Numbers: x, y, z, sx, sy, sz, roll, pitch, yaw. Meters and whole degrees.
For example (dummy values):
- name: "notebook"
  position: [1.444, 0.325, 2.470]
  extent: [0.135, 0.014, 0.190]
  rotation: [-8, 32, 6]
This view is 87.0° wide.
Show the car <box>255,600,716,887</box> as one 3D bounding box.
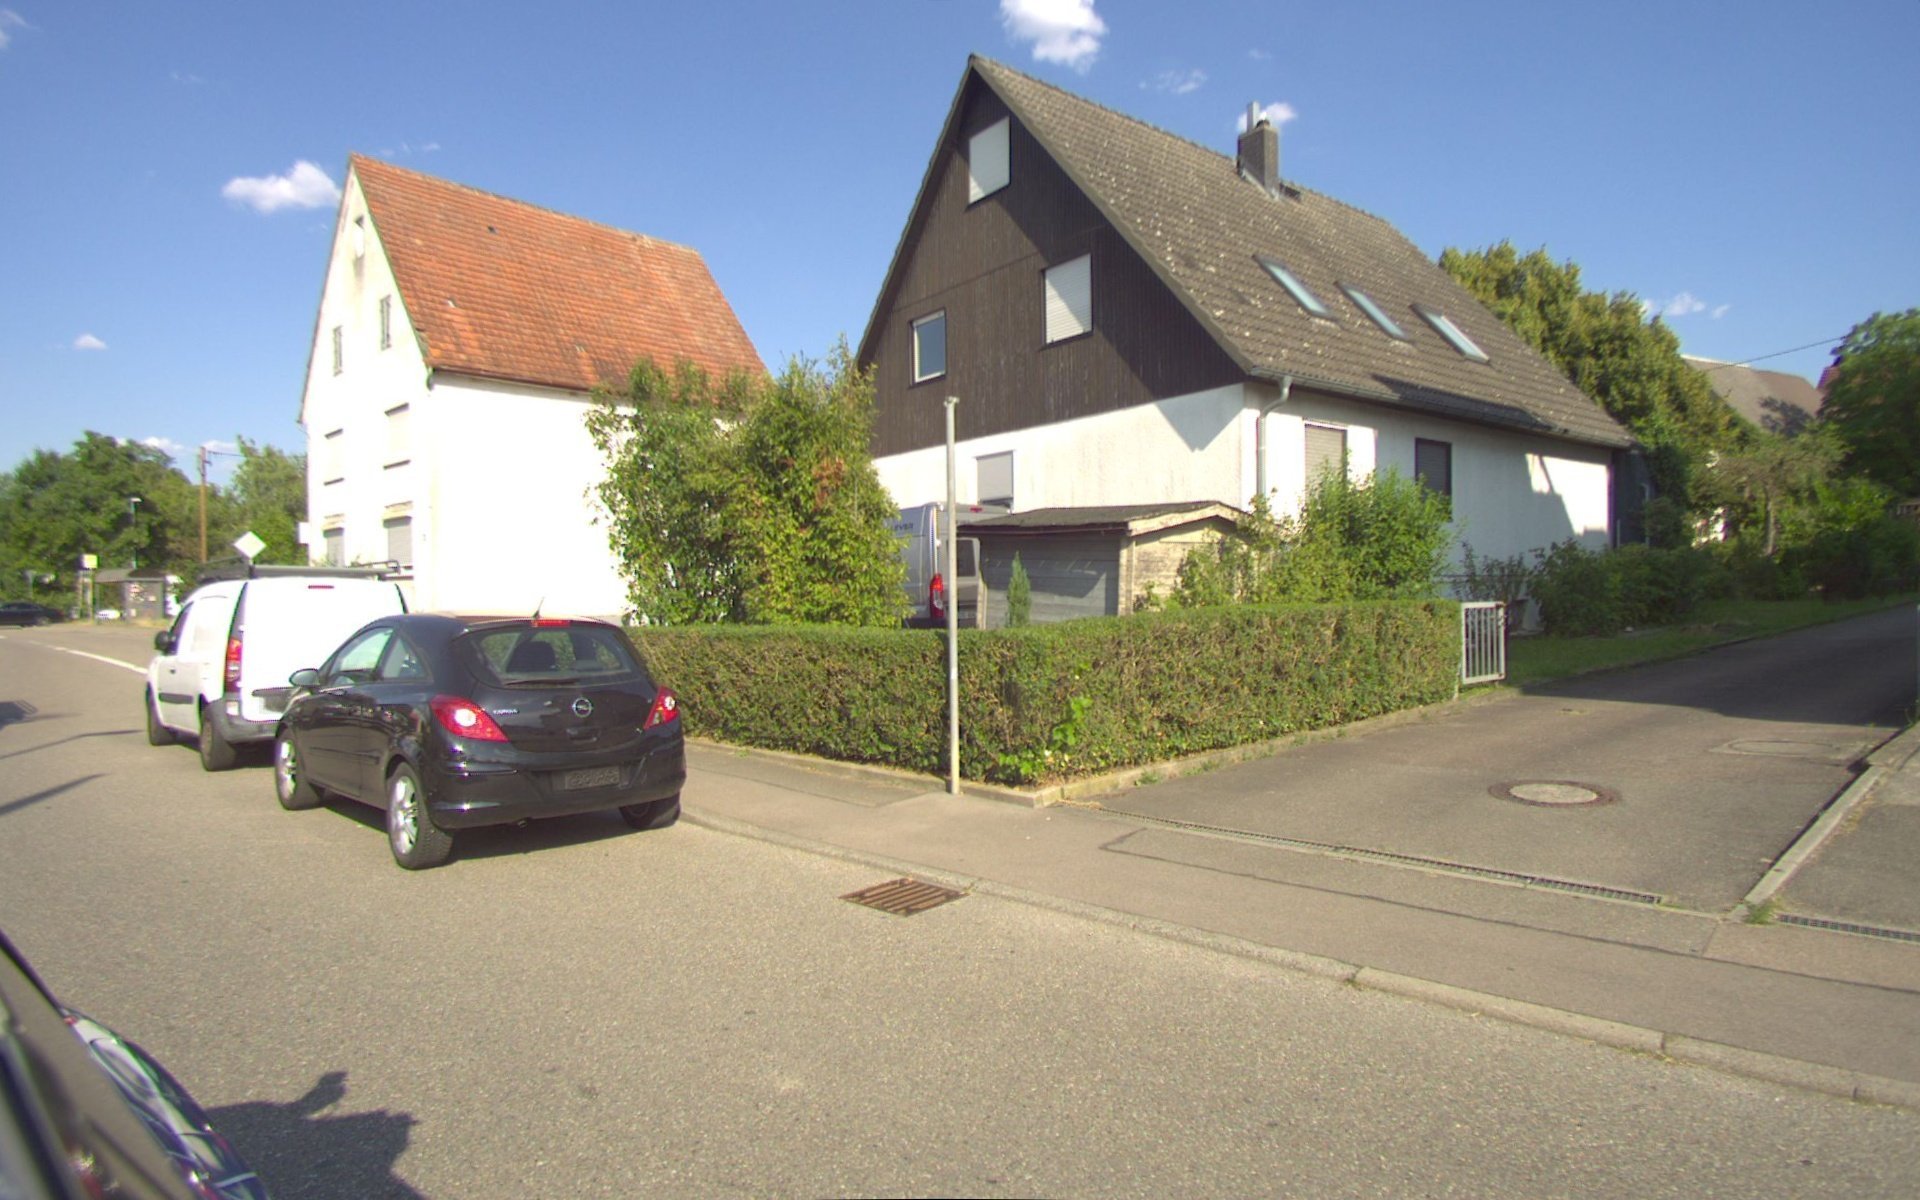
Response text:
- name: "car"
  position: [-3.498, 0.754, 7.111]
  extent: [3.835, 1.462, 1.654]
  rotation: [-1, -1, 43]

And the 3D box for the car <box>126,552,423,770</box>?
- name: "car"
  position: [-7.439, 0.553, 10.816]
  extent: [4.191, 1.887, 1.698]
  rotation: [-1, -1, 42]

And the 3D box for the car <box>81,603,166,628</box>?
- name: "car"
  position: [-53.259, 0.984, 64.544]
  extent: [1.837, 1.503, 4.272]
  rotation: [0, 0, 3]

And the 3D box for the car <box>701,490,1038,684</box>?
- name: "car"
  position: [-1.726, -0.174, 16.640]
  extent: [2.133, 2.615, 6.099]
  rotation: [-2, 1, -44]

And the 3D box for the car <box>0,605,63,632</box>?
- name: "car"
  position: [-52.611, 1.021, 55.531]
  extent: [1.758, 1.442, 4.813]
  rotation: [0, 0, 19]
